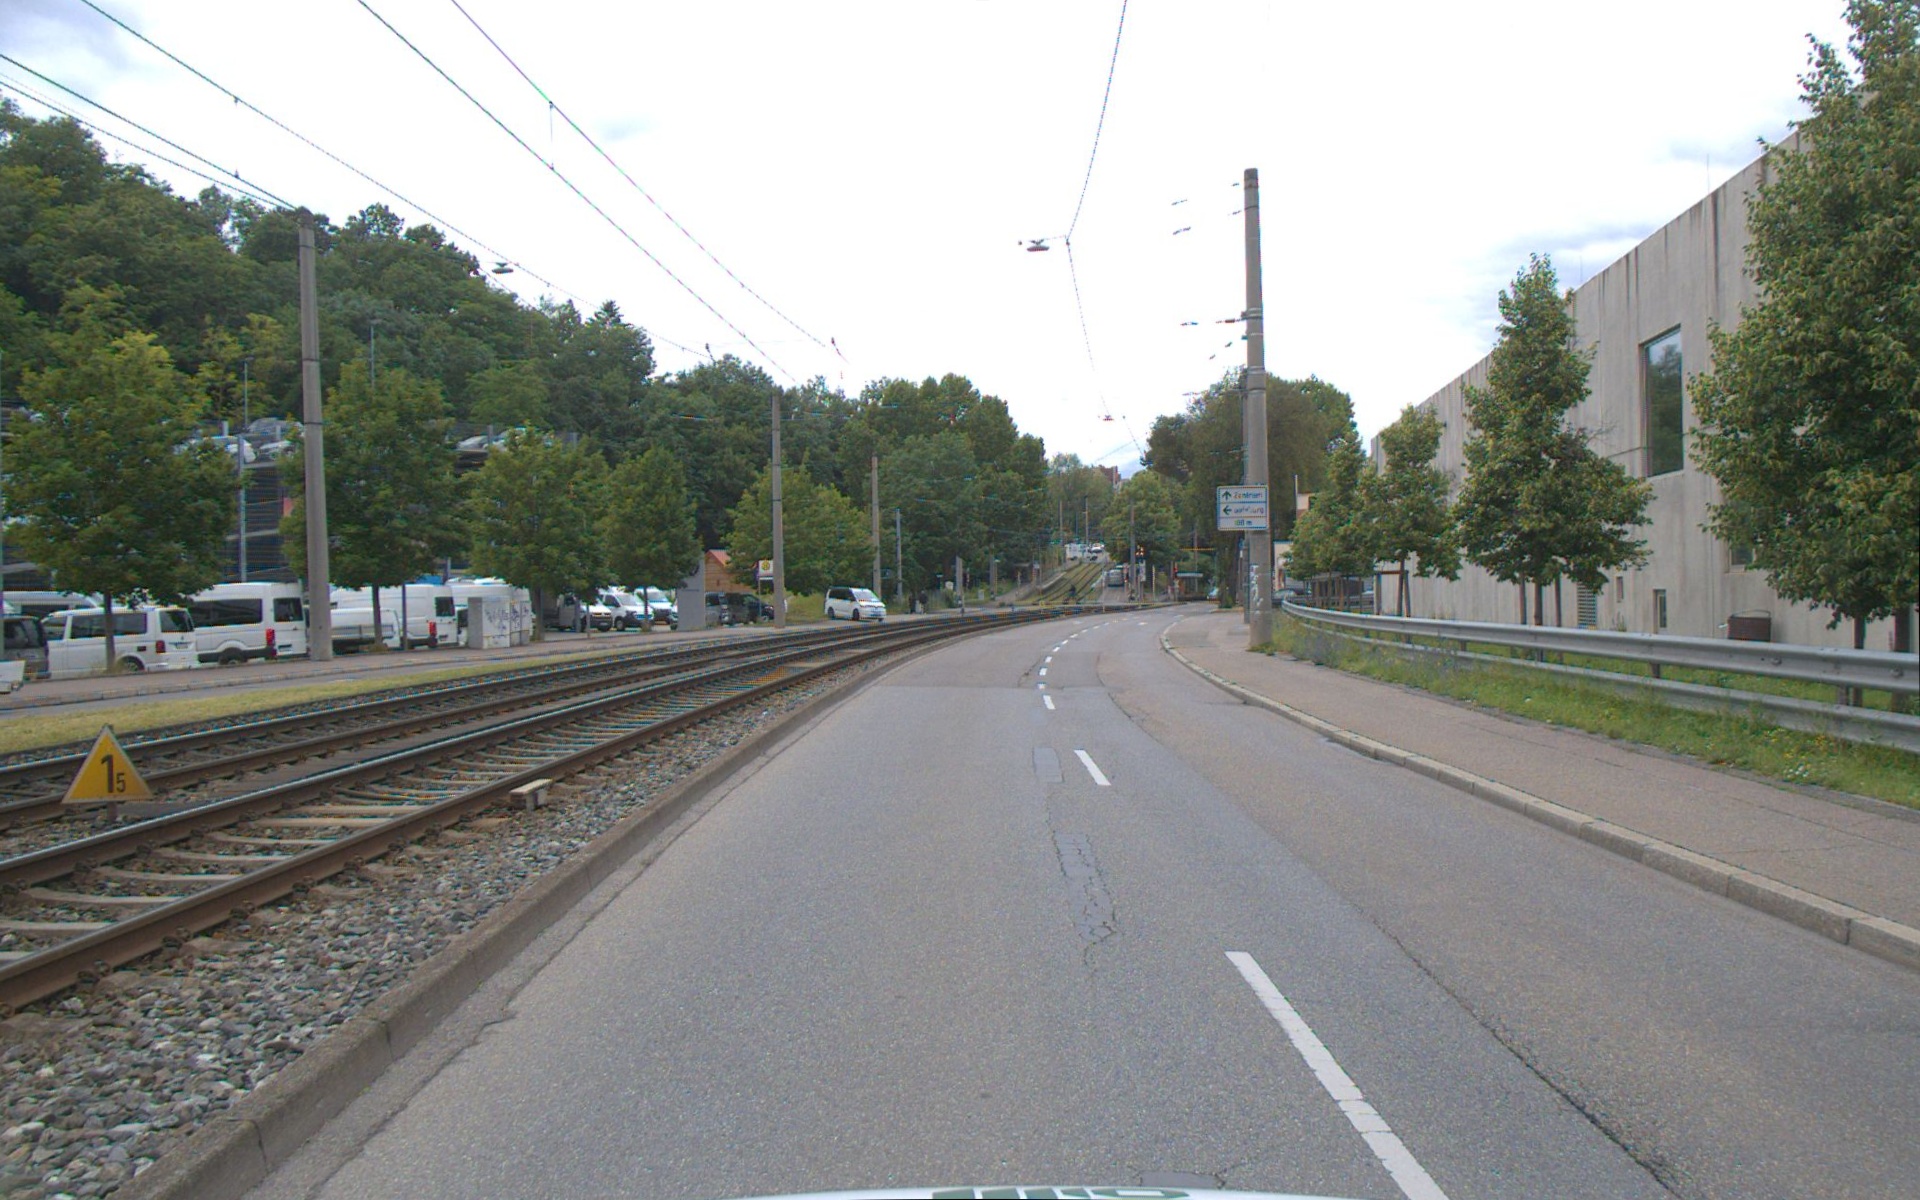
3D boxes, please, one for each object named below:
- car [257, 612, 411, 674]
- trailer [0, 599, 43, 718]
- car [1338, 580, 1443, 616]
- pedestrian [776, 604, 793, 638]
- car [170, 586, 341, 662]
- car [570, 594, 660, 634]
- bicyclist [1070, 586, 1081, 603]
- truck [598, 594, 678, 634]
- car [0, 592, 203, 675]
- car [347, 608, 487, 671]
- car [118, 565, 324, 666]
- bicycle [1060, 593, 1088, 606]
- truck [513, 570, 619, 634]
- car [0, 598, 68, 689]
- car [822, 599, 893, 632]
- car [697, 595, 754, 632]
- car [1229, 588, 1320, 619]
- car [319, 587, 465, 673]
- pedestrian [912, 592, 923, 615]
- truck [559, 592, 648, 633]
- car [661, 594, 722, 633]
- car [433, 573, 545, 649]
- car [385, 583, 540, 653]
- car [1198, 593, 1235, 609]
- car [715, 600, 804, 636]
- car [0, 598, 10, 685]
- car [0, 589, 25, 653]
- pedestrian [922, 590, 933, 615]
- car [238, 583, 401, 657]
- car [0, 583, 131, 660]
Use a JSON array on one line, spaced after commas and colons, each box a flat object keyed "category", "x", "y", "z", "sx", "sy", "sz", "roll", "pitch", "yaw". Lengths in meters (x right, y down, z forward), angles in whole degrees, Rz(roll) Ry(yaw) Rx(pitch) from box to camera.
[{"category": "car", "x": -20.699, "y": 1.417, "z": 54.788, "sx": 4.273, "sy": 1.944, "sz": 2.005, "roll": -1, "pitch": 0, "yaw": 5}, {"category": "trailer", "x": -15.501, "y": 0.913, "z": 21.770, "sx": 2.332, "sy": 1.728, "sz": 6.953, "roll": -3, "pitch": 0, "yaw": 6}, {"category": "car", "x": 20.980, "y": -0.085, "z": 80.622, "sx": 4.430, "sy": 1.575, "sz": 2.153, "roll": -2, "pitch": -2, "yaw": -14}, {"category": "pedestrian", "x": -9.037, "y": 1.071, "z": 85.089, "sx": 0.703, "sy": 1.684, "sz": 1.043, "roll": 1, "pitch": 0, "yaw": 2}, {"category": "car", "x": -21.188, "y": 0.707, "z": 49.822, "sx": 4.273, "sy": 2.211, "sz": 2.005, "roll": -1, "pitch": 0, "yaw": 5}, {"category": "car", "x": -18.094, "y": 0.749, "z": 86.648, "sx": 4.636, "sy": 2.049, "sz": 1.992, "roll": -1, "pitch": 0, "yaw": 36}, {"category": "bicyclist", "x": 12.694, "y": -0.576, "z": 182.134, "sx": 1.029, "sy": 1.881, "sz": 0.822, "roll": -1, "pitch": 0, "yaw": -9}, {"category": "truck", "x": -21.655, "y": 0.940, "z": 111.234, "sx": 4.967, "sy": 2.633, "sz": 2.461, "roll": -1, "pitch": 0, "yaw": 34}, {"category": "car", "x": -22.157, "y": 0.845, "z": 42.720, "sx": 4.273, "sy": 2.045, "sz": 2.005, "roll": -1, "pitch": 0, "yaw": 5}, {"category": "car", "x": -19.421, "y": 1.403, "z": 59.236, "sx": 4.273, "sy": 2.142, "sz": 2.005, "roll": -1, "pitch": 0, "yaw": 5}, {"category": "car", "x": -20.868, "y": 0.436, "z": 46.824, "sx": 4.861, "sy": 2.746, "sz": 2.116, "roll": -1, "pitch": 0, "yaw": 5}, {"category": "bicycle", "x": 12.550, "y": -0.081, "z": 182.108, "sx": 2.931, "sy": 1.367, "sz": 0.825, "roll": -1, "pitch": 0, "yaw": -9}, {"category": "truck", "x": -20.190, "y": 0.136, "z": 84.588, "sx": 5.825, "sy": 3.139, "sz": 2.110, "roll": -1, "pitch": 0, "yaw": 39}, {"category": "car", "x": -22.817, "y": 0.968, "z": 37.440, "sx": 4.272, "sy": 1.981, "sz": 2.006, "roll": -1, "pitch": 0, "yaw": 10}, {"category": "car", "x": -6.420, "y": 0.945, "z": 102.783, "sx": 2.141, "sy": 1.921, "sz": 5.011, "roll": 1, "pitch": 0, "yaw": -35}, {"category": "car", "x": -13.654, "y": 0.768, "z": 96.606, "sx": 1.951, "sy": 2.049, "sz": 5.134, "roll": -1, "pitch": 0, "yaw": 7}, {"category": "car", "x": 15.647, "y": 0.158, "z": 82.345, "sx": 4.152, "sy": 1.468, "sz": 1.755, "roll": 0, "pitch": 1, "yaw": 38}, {"category": "car", "x": -19.561, "y": 1.015, "z": 57.021, "sx": 4.273, "sy": 2.868, "sz": 2.005, "roll": -1, "pitch": 0, "yaw": 5}, {"category": "pedestrian", "x": -3.151, "y": 0.252, "z": 123.288, "sx": 0.614, "sy": 1.743, "sz": 0.856, "roll": 1, "pitch": 0, "yaw": 11}, {"category": "truck", "x": -23.486, "y": 0.817, "z": 108.932, "sx": 5.659, "sy": 2.633, "sz": 2.461, "roll": -1, "pitch": 0, "yaw": 34}, {"category": "car", "x": -14.701, "y": 0.731, "z": 90.804, "sx": 1.951, "sy": 2.049, "sz": 4.923, "roll": -1, "pitch": 0, "yaw": 7}, {"category": "car", "x": -19.891, "y": 0.438, "z": 70.171, "sx": 2.062, "sy": 3.072, "sz": 5.942, "roll": -1, "pitch": 0, "yaw": 11}, {"category": "car", "x": -19.489, "y": 0.697, "z": 64.879, "sx": 5.356, "sy": 2.647, "sz": 2.248, "roll": -1, "pitch": 0, "yaw": 9}, {"category": "car", "x": 27.506, "y": 0.077, "z": 177.401, "sx": 1.664, "sy": 1.559, "sz": 4.225, "roll": -6, "pitch": -5, "yaw": 44}, {"category": "car", "x": -12.306, "y": 1.080, "z": 101.481, "sx": 4.998, "sy": 2.049, "sz": 2.146, "roll": -1, "pitch": 0, "yaw": -28}, {"category": "car", "x": -22.891, "y": 0.930, "z": 35.252, "sx": 4.272, "sy": 1.877, "sz": 2.006, "roll": -1, "pitch": 0, "yaw": 10}, {"category": "car", "x": -33.085, "y": 0.696, "z": 53.523, "sx": 4.739, "sy": 2.049, "sz": 2.002, "roll": -1, "pitch": 0, "yaw": 11}, {"category": "pedestrian", "x": -2.403, "y": 0.151, "z": 123.218, "sx": 0.662, "sy": 1.845, "sz": 0.856, "roll": 1, "pitch": 0, "yaw": 11}, {"category": "car", "x": -20.054, "y": 0.610, "z": 51.891, "sx": 4.273, "sy": 2.211, "sz": 2.005, "roll": -1, "pitch": 0, "yaw": 5}, {"category": "car", "x": -33.056, "y": 0.774, "z": 59.171, "sx": 5.848, "sy": 2.647, "sz": 1.992, "roll": -1, "pitch": 0, "yaw": -21}]
